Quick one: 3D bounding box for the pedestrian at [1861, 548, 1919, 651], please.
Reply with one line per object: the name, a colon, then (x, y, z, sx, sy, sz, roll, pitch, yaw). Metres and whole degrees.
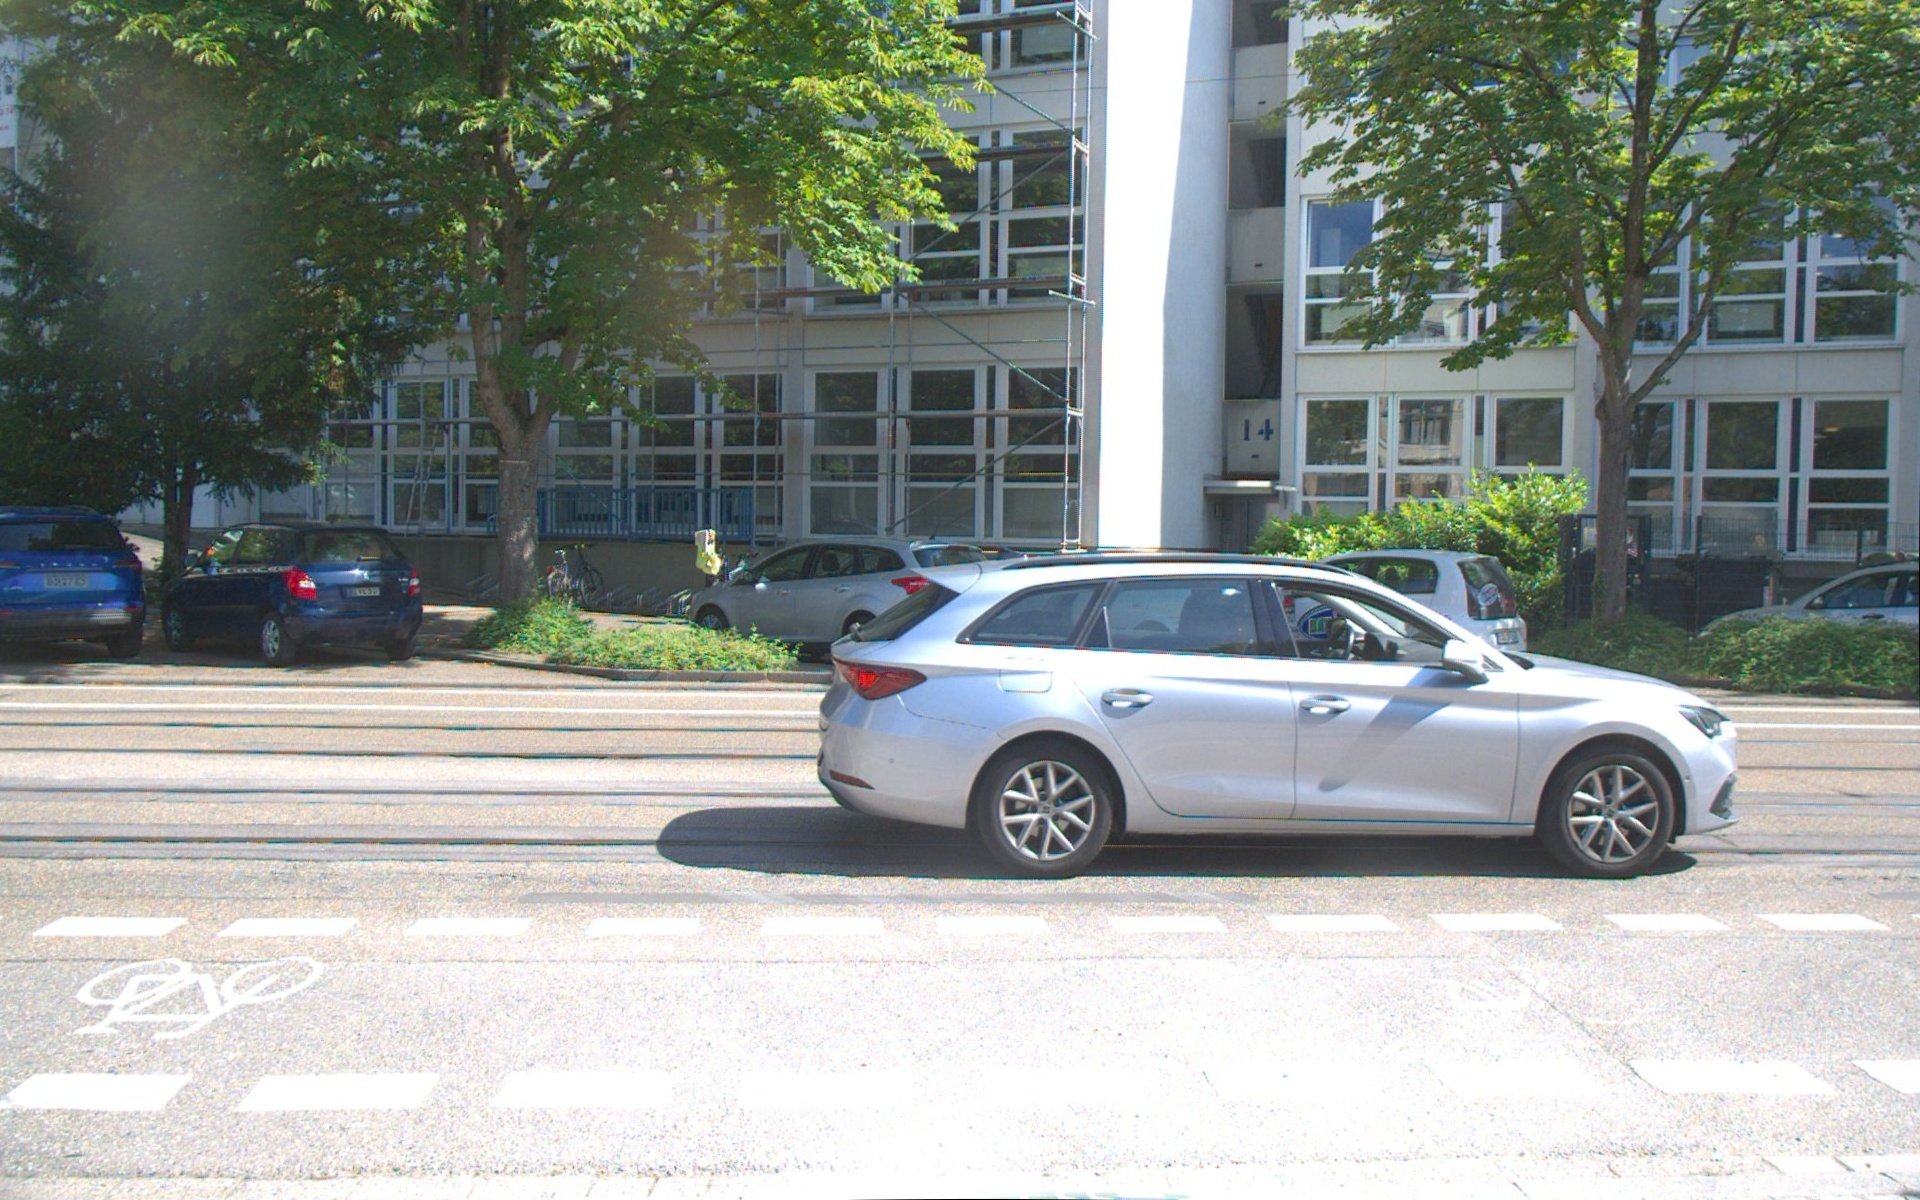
pedestrian: (13.629, -0.010, 24.198, 0.608, 1.486, 0.424, 1, 2, -6)

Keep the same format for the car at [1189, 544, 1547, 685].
car: (4.785, 0.106, 19.730, 3.876, 1.512, 1.603, 1, 2, 43)

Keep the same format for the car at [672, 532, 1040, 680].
car: (-1.310, -0.009, 19.401, 4.356, 1.511, 1.774, 3, 3, 42)

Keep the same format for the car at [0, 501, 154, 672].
car: (-10.535, -0.240, 18.348, 1.767, 1.650, 3.883, -2, 5, -44)

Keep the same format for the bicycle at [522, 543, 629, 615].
bicycle: (-6.147, -0.360, 26.589, 0.725, 1.104, 2.205, 1, 2, 15)

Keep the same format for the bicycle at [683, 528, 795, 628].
bicycle: (-3.427, -0.360, 25.832, 0.648, 1.478, 2.088, 2, 2, 27)

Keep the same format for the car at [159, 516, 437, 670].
car: (-7.485, -0.140, 18.592, 3.396, 1.557, 1.567, 3, 3, 42)

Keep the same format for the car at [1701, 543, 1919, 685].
car: (11.465, 0.161, 20.061, 4.262, 1.632, 1.551, 2, 2, 39)

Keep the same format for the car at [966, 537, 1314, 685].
car: (2.016, 0.052, 19.305, 3.878, 1.511, 1.602, 3, 3, 44)

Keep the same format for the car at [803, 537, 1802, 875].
car: (1.501, 0.449, 8.285, 4.488, 1.432, 1.891, 1, 3, -4)
